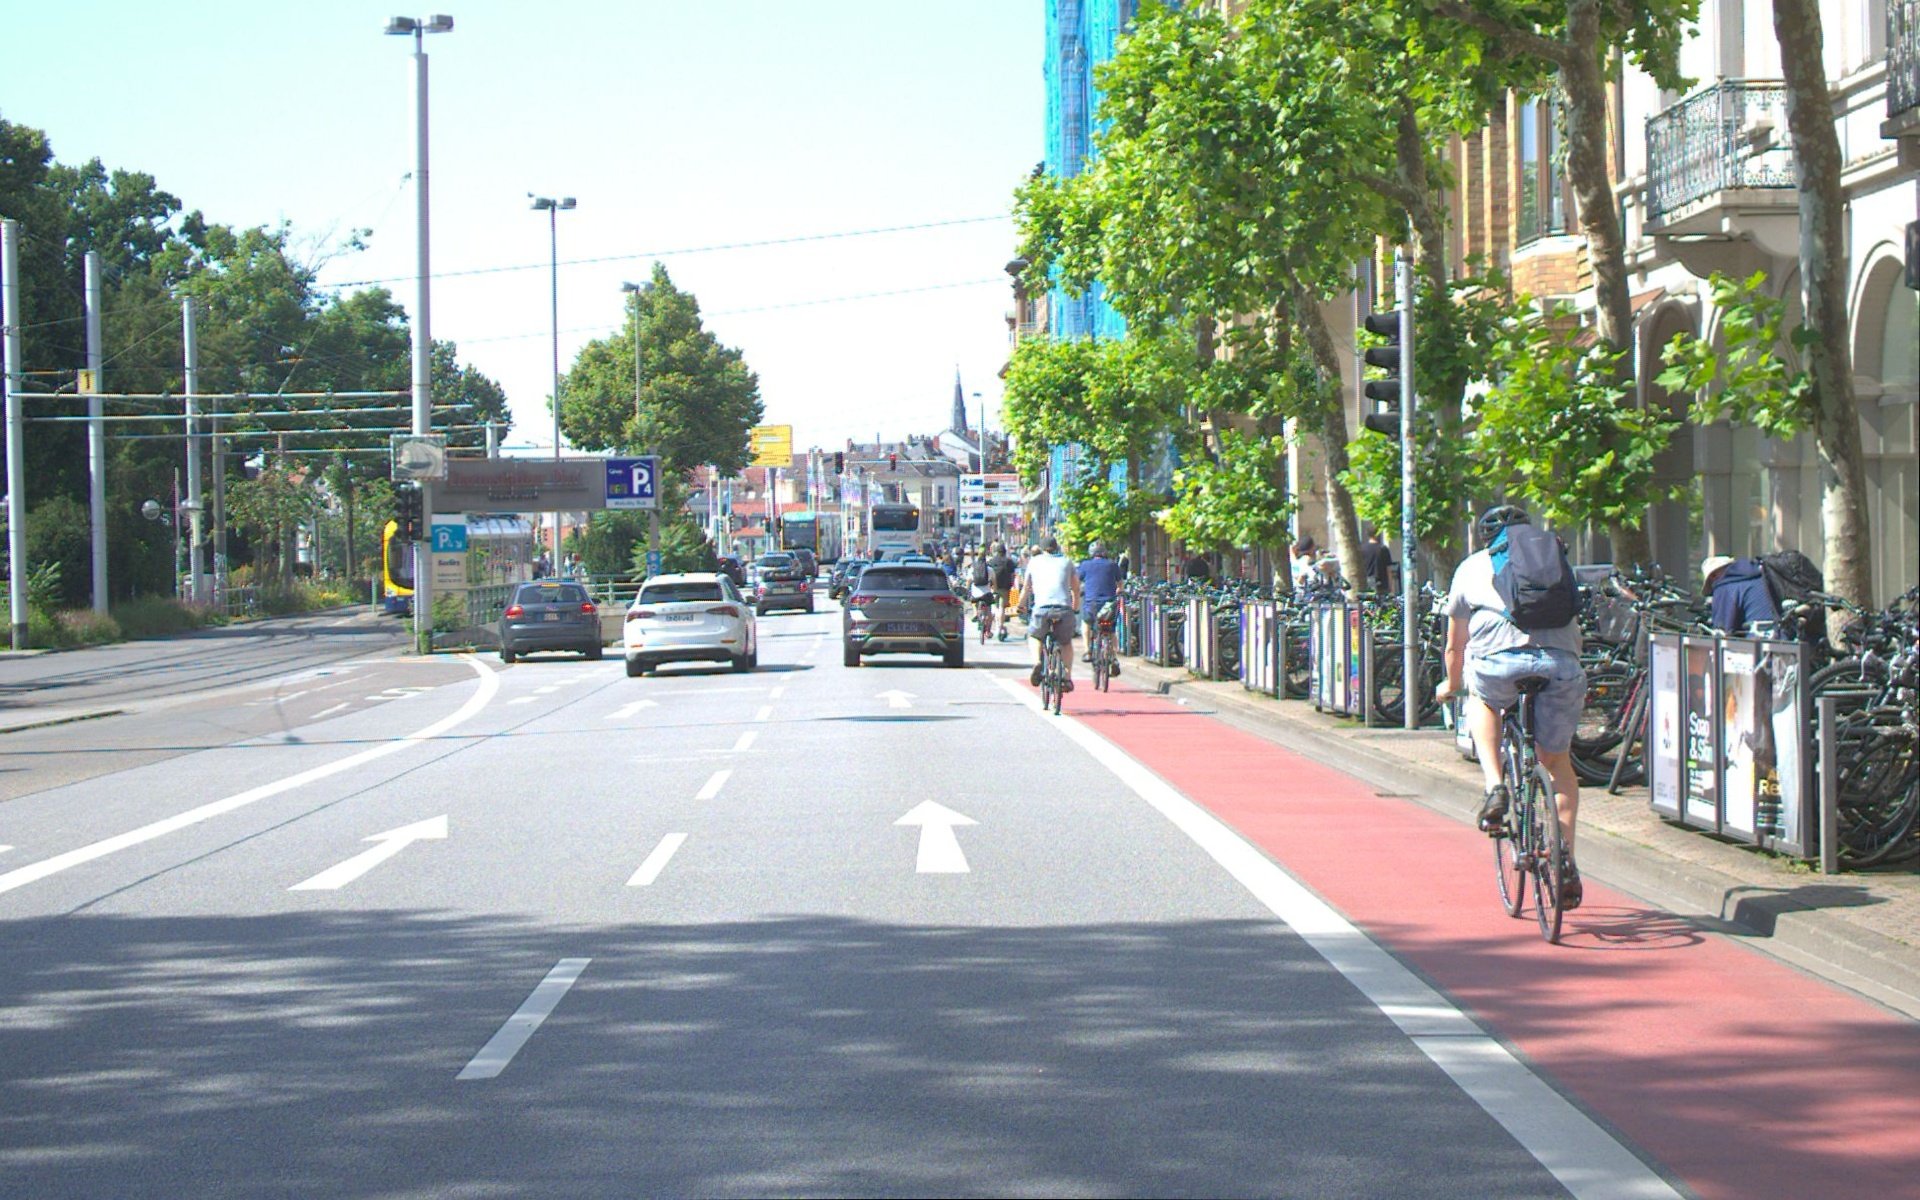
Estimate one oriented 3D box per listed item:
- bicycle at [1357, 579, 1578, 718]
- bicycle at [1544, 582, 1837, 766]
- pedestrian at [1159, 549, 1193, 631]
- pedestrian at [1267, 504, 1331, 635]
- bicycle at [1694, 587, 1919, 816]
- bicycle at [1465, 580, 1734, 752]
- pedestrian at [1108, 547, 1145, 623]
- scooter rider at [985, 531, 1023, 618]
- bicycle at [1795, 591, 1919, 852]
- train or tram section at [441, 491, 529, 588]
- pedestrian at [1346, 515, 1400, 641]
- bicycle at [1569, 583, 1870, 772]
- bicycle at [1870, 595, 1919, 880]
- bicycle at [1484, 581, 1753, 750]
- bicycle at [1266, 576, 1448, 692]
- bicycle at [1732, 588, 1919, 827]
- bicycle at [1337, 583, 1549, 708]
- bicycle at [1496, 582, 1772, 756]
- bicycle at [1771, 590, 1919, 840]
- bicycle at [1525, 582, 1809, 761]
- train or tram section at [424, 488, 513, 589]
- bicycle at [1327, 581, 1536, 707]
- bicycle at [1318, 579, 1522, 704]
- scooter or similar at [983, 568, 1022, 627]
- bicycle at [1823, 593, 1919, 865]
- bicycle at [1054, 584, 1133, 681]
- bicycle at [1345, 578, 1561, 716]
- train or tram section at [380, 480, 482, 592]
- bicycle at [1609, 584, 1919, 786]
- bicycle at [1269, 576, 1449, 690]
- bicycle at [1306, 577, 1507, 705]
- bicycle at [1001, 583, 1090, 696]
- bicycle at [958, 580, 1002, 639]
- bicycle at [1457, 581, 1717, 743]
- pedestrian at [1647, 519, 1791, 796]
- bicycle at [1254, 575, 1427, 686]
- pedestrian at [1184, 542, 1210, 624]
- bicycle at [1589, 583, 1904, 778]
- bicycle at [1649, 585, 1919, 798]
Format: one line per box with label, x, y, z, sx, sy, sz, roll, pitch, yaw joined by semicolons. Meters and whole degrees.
bicycle;4.232;0.400;28.708;1.752;1.143;0.483;0;0;-3
bicycle;4.644;0.466;21.886;1.752;1.143;0.483;0;0;-3
pedestrian;4.465;-0.203;71.084;0.498;1.677;0.537;-2;0;-12
pedestrian;4.276;-0.381;43.434;0.652;1.628;0.730;1;0;-4
bicycle;4.725;0.509;17.698;1.752;1.143;0.593;0;0;-3
bicycle;4.507;0.460;24.275;1.799;1.190;0.483;0;0;-3
pedestrian;4.121;-0.378;85.113;0.814;1.842;0.891;-2;0;6
scooter rider;0.879;-0.507;68.848;0.688;1.723;0.778;1;0;-2
bicycle;4.727;0.533;15.526;1.752;1.143;0.593;0;0;-3
train or tram section;-18.197;-2.300;132.064;2.613;3.569;6.899;1;1;-2
pedestrian;5.934;-0.320;49.393;0.668;1.775;0.985;-1;0;3
bicycle;4.697;0.473;21.292;1.752;1.143;0.483;0;0;-3
bicycle;4.717;0.549;14.190;1.752;1.143;0.593;0;0;-3
bicycle;4.538;0.446;23.722;1.752;1.143;0.483;0;0;-3
bicycle;3.981;0.336;34.498;1.752;1.143;0.483;0;0;-3
bicycle;4.750;0.517;16.934;1.752;1.143;0.593;0;0;-3
bicycle;4.172;0.388;29.733;1.752;1.065;0.483;0;0;-3
bicycle;4.539;0.457;23.190;1.752;1.143;0.483;0;0;-3
bicycle;4.776;0.526;16.205;1.752;1.143;0.593;0;0;-3
bicycle;4.620;0.462;22.497;1.752;1.143;0.483;0;0;-3
train or tram section;-17.969;-2.236;125.982;2.613;3.569;5.357;1;0;-2
bicycle;4.149;0.383;30.291;1.752;1.084;0.483;0;0;-3
bicycle;4.115;0.368;30.792;1.752;1.101;0.483;0;0;-3
scooter or similar;0.853;-0.052;68.816;0.688;1.163;1.464;1;0;-2
bicycle;4.694;0.542;14.891;1.752;1.143;0.593;0;0;-3
bicycle;1.571;0.374;40.711;0.734;1.089;1.911;1;1;-3
bicycle;4.186;0.394;29.221;1.752;1.143;0.483;0;0;-3
train or tram section;-17.525;-2.111;114.179;2.613;3.569;6.104;1;1;-2
bicycle;4.716;0.484;19.992;1.752;1.143;0.593;0;0;-3
bicycle;4.062;0.329;35.059;1.752;1.143;0.527;0;0;-3
bicycle;4.058;0.370;31.309;1.752;1.143;0.483;0;0;-3
bicycle;0.851;0.386;34.781;0.734;1.089;1.898;1;1;-3
bicycle;0.381;0.179;65.969;0.734;1.089;1.898;1;1;-2
bicycle;4.522;0.444;24.834;1.773;1.143;0.483;0;0;-3
pedestrian;4.302;0.316;19.516;0.604;1.533;0.667;1;0;-3
bicycle;3.999;0.319;36.159;1.752;1.143;0.483;0;0;-3
pedestrian;4.912;-0.357;71.251;0.380;1.677;0.477;-2;0;-9
bicycle;4.722;0.476;20.689;1.752;1.143;0.593;0;0;-3
bicycle;4.757;0.494;19.032;1.752;1.143;0.593;0;0;-3
